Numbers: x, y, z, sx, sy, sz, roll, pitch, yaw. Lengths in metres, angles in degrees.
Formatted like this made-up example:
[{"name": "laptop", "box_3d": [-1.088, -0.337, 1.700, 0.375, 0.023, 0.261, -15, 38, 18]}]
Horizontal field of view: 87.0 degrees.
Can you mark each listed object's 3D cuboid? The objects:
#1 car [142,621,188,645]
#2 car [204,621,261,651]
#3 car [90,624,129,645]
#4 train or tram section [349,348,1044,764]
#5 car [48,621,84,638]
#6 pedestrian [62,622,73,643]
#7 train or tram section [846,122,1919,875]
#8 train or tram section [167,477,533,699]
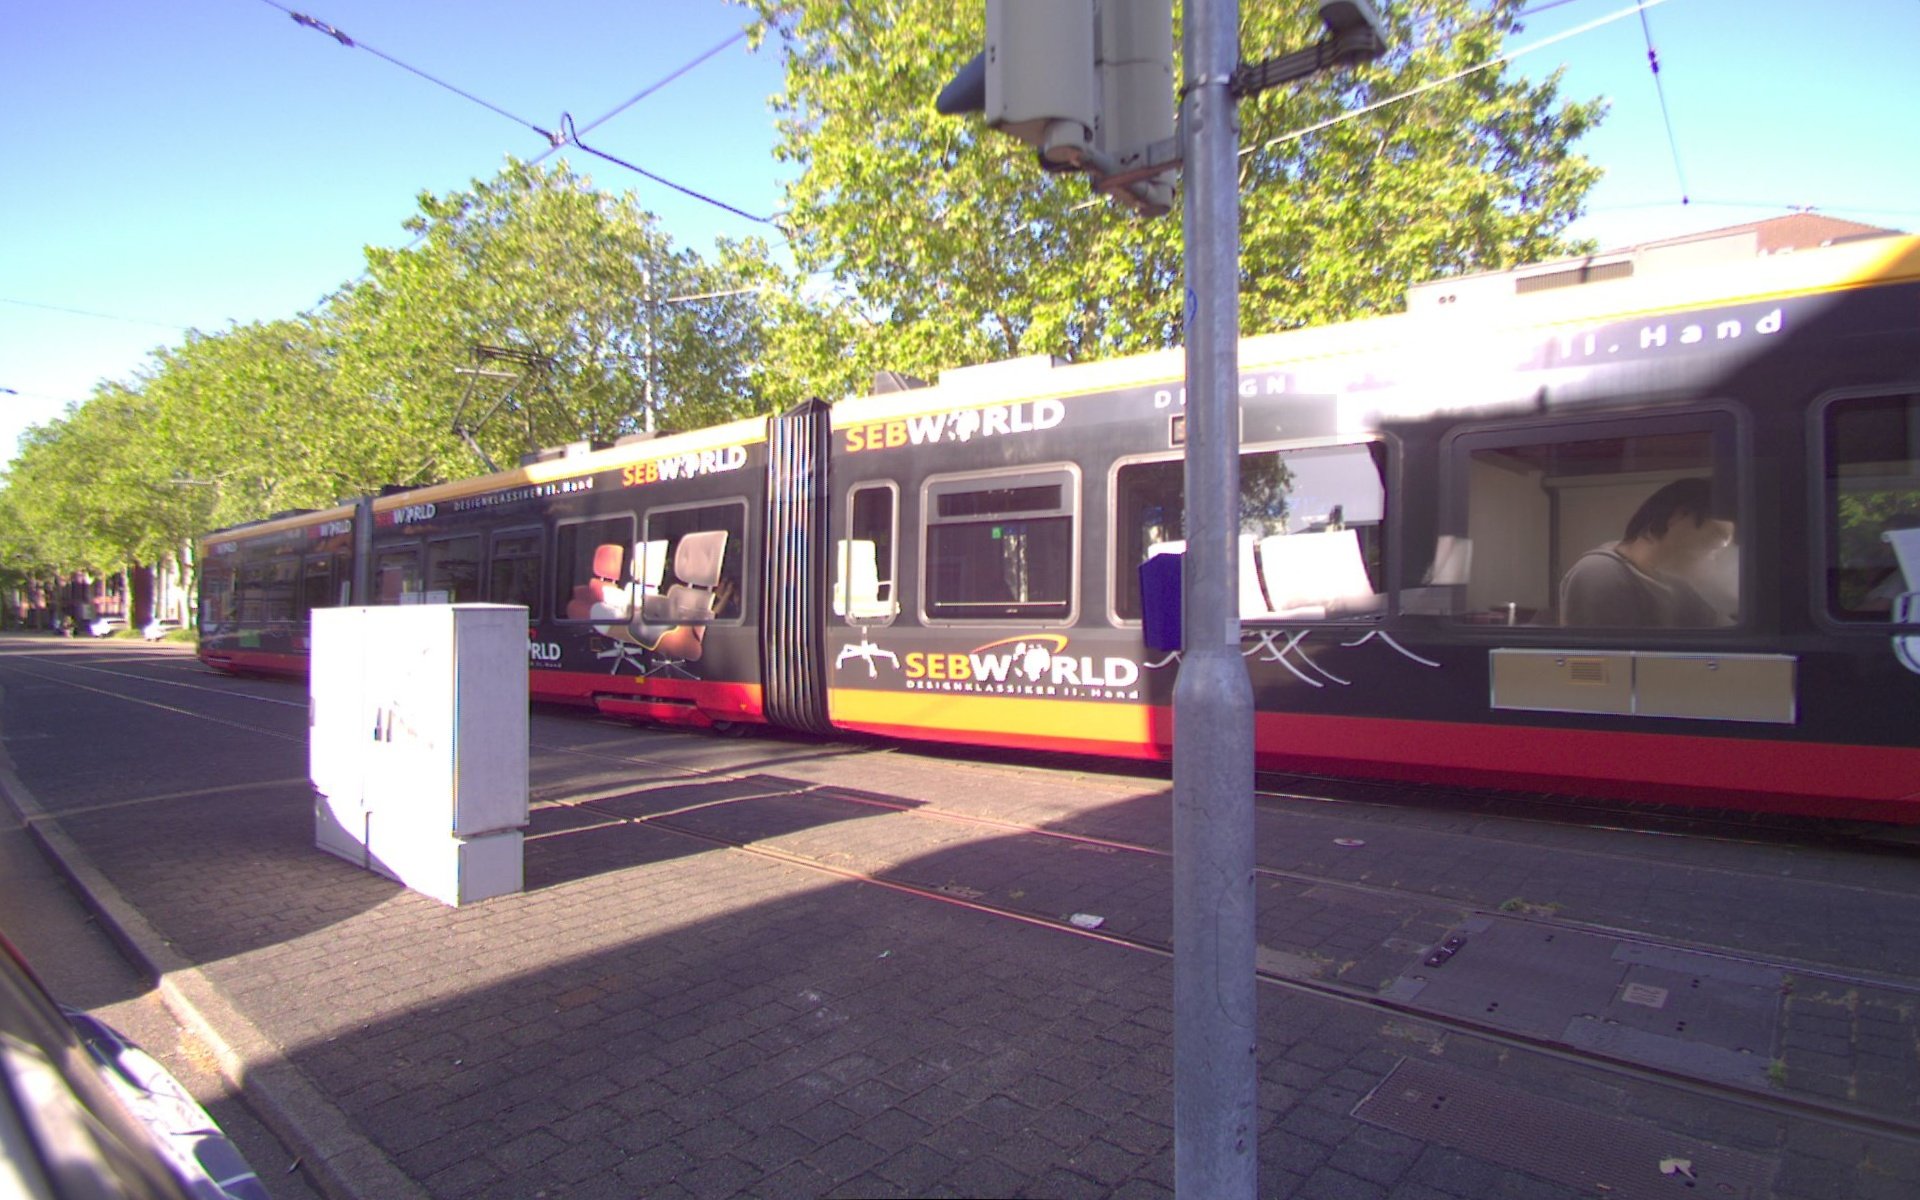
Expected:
[{"name": "car", "box_3d": [-53.712, 2.238, 68.366, 4.000, 1.563, 1.857, -1, -2, 43]}, {"name": "car", "box_3d": [-40.680, 1.970, 56.569, 4.000, 1.588, 1.857, -1, -2, 43]}, {"name": "car", "box_3d": [-66.884, 2.670, 79.562, 4.000, 1.563, 1.857, -1, -2, 43]}, {"name": "train or tram section", "box_3d": [-4.565, -0.281, 13.911, 11.942, 3.640, 3.023, -1, -2, 41]}, {"name": "car", "box_3d": [-85.230, 2.783, 96.459, 3.995, 1.563, 1.859, -1, -1, 38]}, {"name": "pedestrian", "box_3d": [-71.002, 2.588, 80.477, 0.677, 1.654, 0.570, -1, -2, 43]}, {"name": "train or tram section", "box_3d": [4.844, -0.467, 6.578, 12.082, 3.640, 3.030, -1, -1, 34]}, {"name": "train or tram section", "box_3d": [-13.802, -0.071, 21.984, 12.882, 3.640, 3.023, -1, -2, 41]}]
